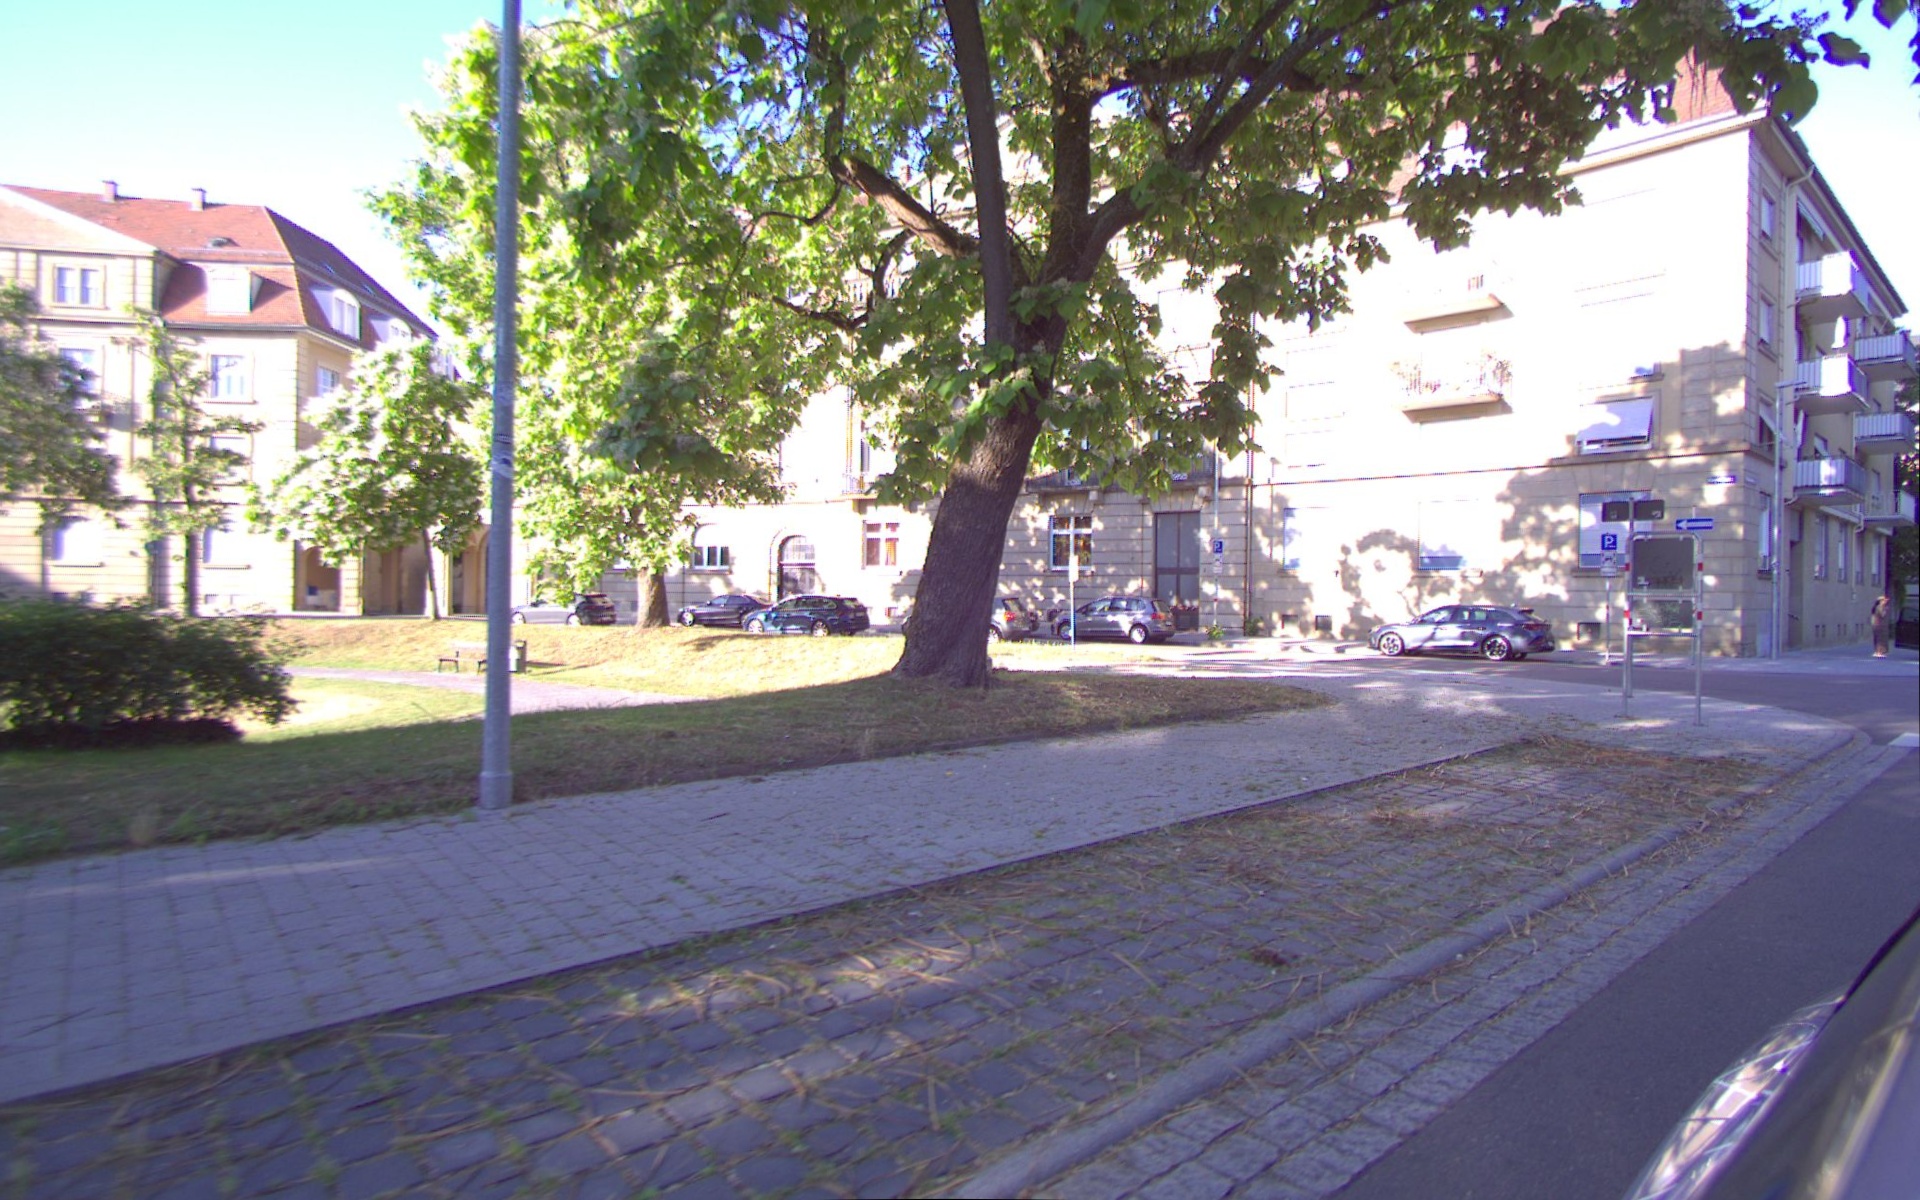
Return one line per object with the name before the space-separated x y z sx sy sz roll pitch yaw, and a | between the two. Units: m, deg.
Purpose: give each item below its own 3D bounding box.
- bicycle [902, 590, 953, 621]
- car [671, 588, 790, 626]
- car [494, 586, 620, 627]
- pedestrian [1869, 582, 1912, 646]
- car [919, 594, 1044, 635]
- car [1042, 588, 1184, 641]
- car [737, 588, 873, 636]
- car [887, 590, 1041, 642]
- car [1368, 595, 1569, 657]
bicycle | -1.390 0.224 42.840 2.102 1.245 0.609 1 1 26
car | -9.547 0.257 42.164 4.589 1.435 1.809 1 1 19
car | -15.033 0.211 37.785 4.317 1.435 1.808 1 1 20
pedestrian | 27.418 0.417 29.830 0.721 1.854 0.554 0 -1 14
car | 0.769 0.499 37.076 4.412 1.341 1.491 1 1 28
car | 5.156 0.436 34.241 4.420 1.620 1.782 1 1 32
car | -5.167 0.365 33.531 4.395 1.435 1.552 1 1 27
car | 0.097 0.438 30.631 4.330 1.435 1.826 1 1 30
car | 13.498 0.619 27.044 4.441 1.436 1.905 2 1 45
